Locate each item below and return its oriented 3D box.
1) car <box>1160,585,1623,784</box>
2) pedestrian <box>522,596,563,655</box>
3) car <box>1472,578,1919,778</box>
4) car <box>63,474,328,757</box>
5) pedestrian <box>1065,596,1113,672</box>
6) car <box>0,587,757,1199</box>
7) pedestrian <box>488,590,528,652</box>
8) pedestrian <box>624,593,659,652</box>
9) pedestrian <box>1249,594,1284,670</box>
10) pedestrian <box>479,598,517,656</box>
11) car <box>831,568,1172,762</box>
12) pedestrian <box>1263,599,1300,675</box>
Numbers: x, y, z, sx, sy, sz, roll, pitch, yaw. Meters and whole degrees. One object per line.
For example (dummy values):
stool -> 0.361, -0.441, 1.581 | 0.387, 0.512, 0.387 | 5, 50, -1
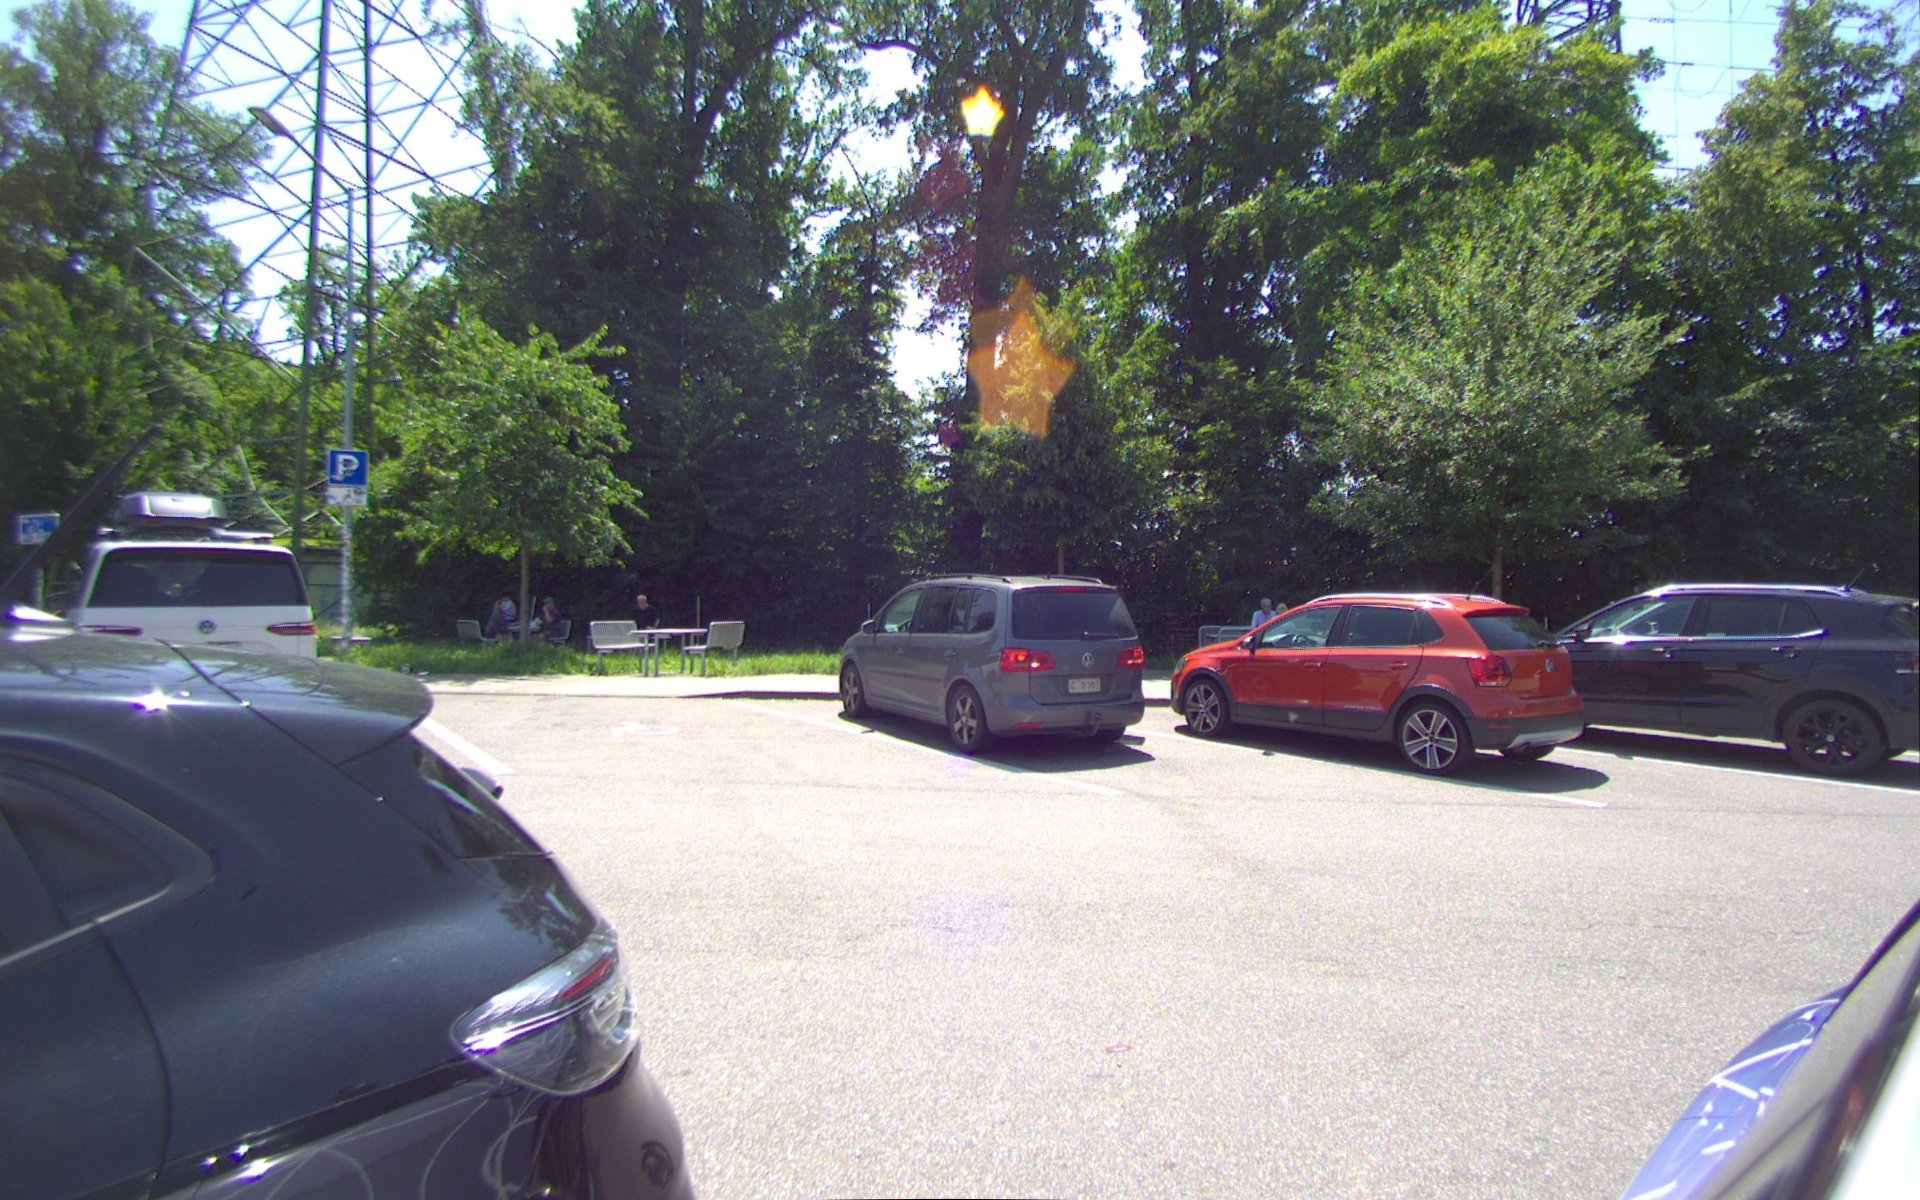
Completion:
car -> 3.851, 0.610, 9.647 | 1.604, 1.476, 3.810 | 0, 1, -34
pedestrian -> -9.724, 0.588, 23.572 | 0.722, 1.343, 0.669 | 1, -1, -39
car -> 7.230, 0.582, 9.671 | 1.727, 1.566, 3.806 | 0, 1, -39
car -> -8.075, 0.093, 10.621 | 1.885, 2.353, 4.089 | 0, 1, -40
pedestrian -> 2.139, 0.569, 16.856 | 0.660, 1.235, 0.682 | 1, -2, -5
car -> -2.136, 0.721, 0.583 | 1.615, 1.503, 3.706 | 0, -1, 44
pedestrian -> -10.956, 0.496, 24.509 | 0.722, 1.478, 0.669 | 1, -1, -39
pedestrian -> -6.695, 0.469, 21.298 | 0.550, 1.229, 0.599 | 1, -1, -1
pedestrian -> 5.760, 0.596, 19.016 | 0.495, 1.393, 0.491 | 1, -1, 0
pedestrian -> -10.444, 0.603, 22.875 | 0.630, 1.287, 0.579 | 1, -1, -39
car -> 0.215, 0.505, 10.550 | 1.717, 1.611, 3.961 | 0, 1, -30
pedestrian -> 5.678, 0.646, 17.892 | 0.495, 1.316, 0.491 | 1, -1, 0
